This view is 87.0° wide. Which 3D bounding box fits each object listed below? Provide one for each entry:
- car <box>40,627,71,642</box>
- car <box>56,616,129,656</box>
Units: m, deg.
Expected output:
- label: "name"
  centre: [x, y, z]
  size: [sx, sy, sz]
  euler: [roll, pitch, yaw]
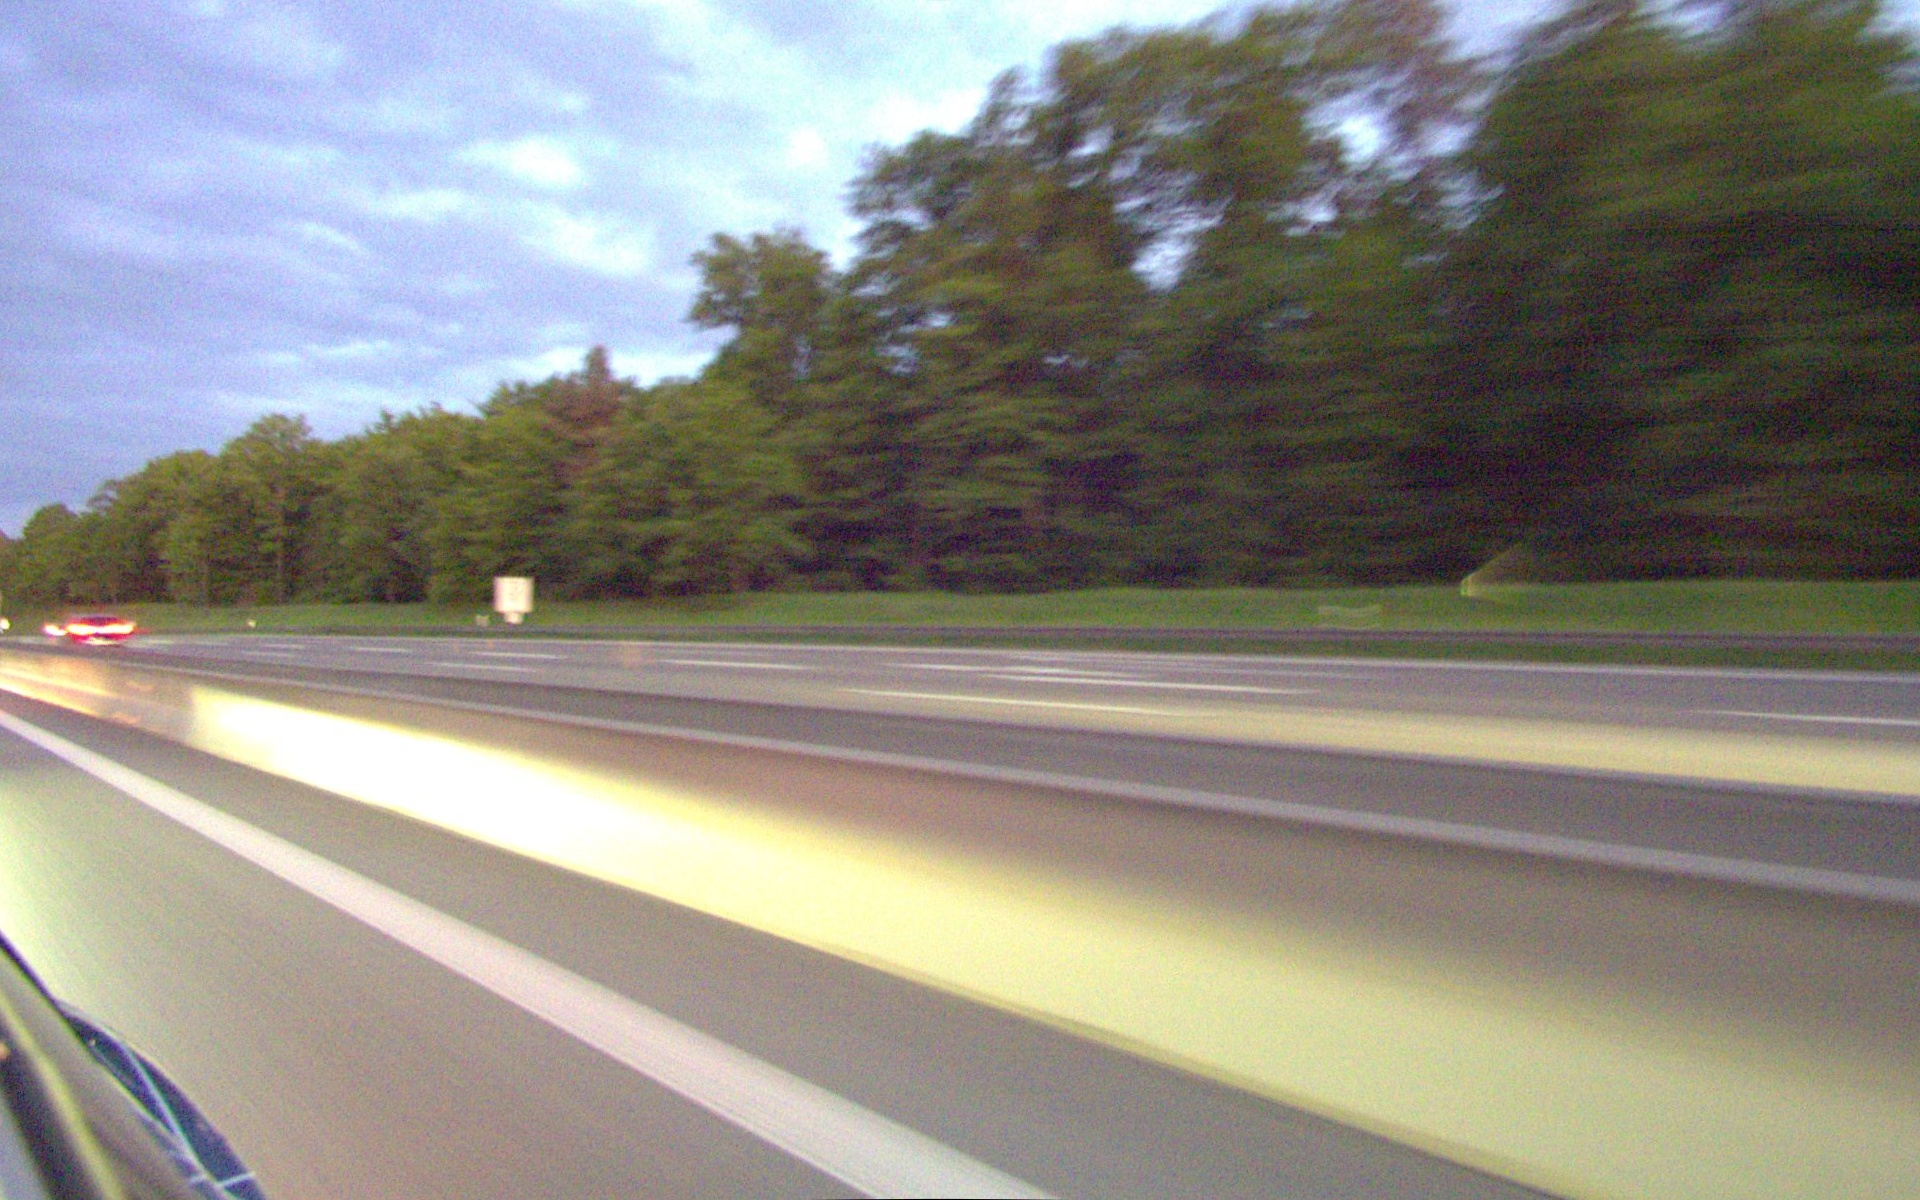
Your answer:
- label: "car"
  centre: [-98.200, 3.735, 109.857]
  size: [3.995, 1.474, 1.825]
  euler: [-2, 0, 39]
- label: "car"
  centre: [-39.229, 1.583, 45.700]
  size: [5.111, 1.651, 1.972]
  euler: [-1, 0, 43]
